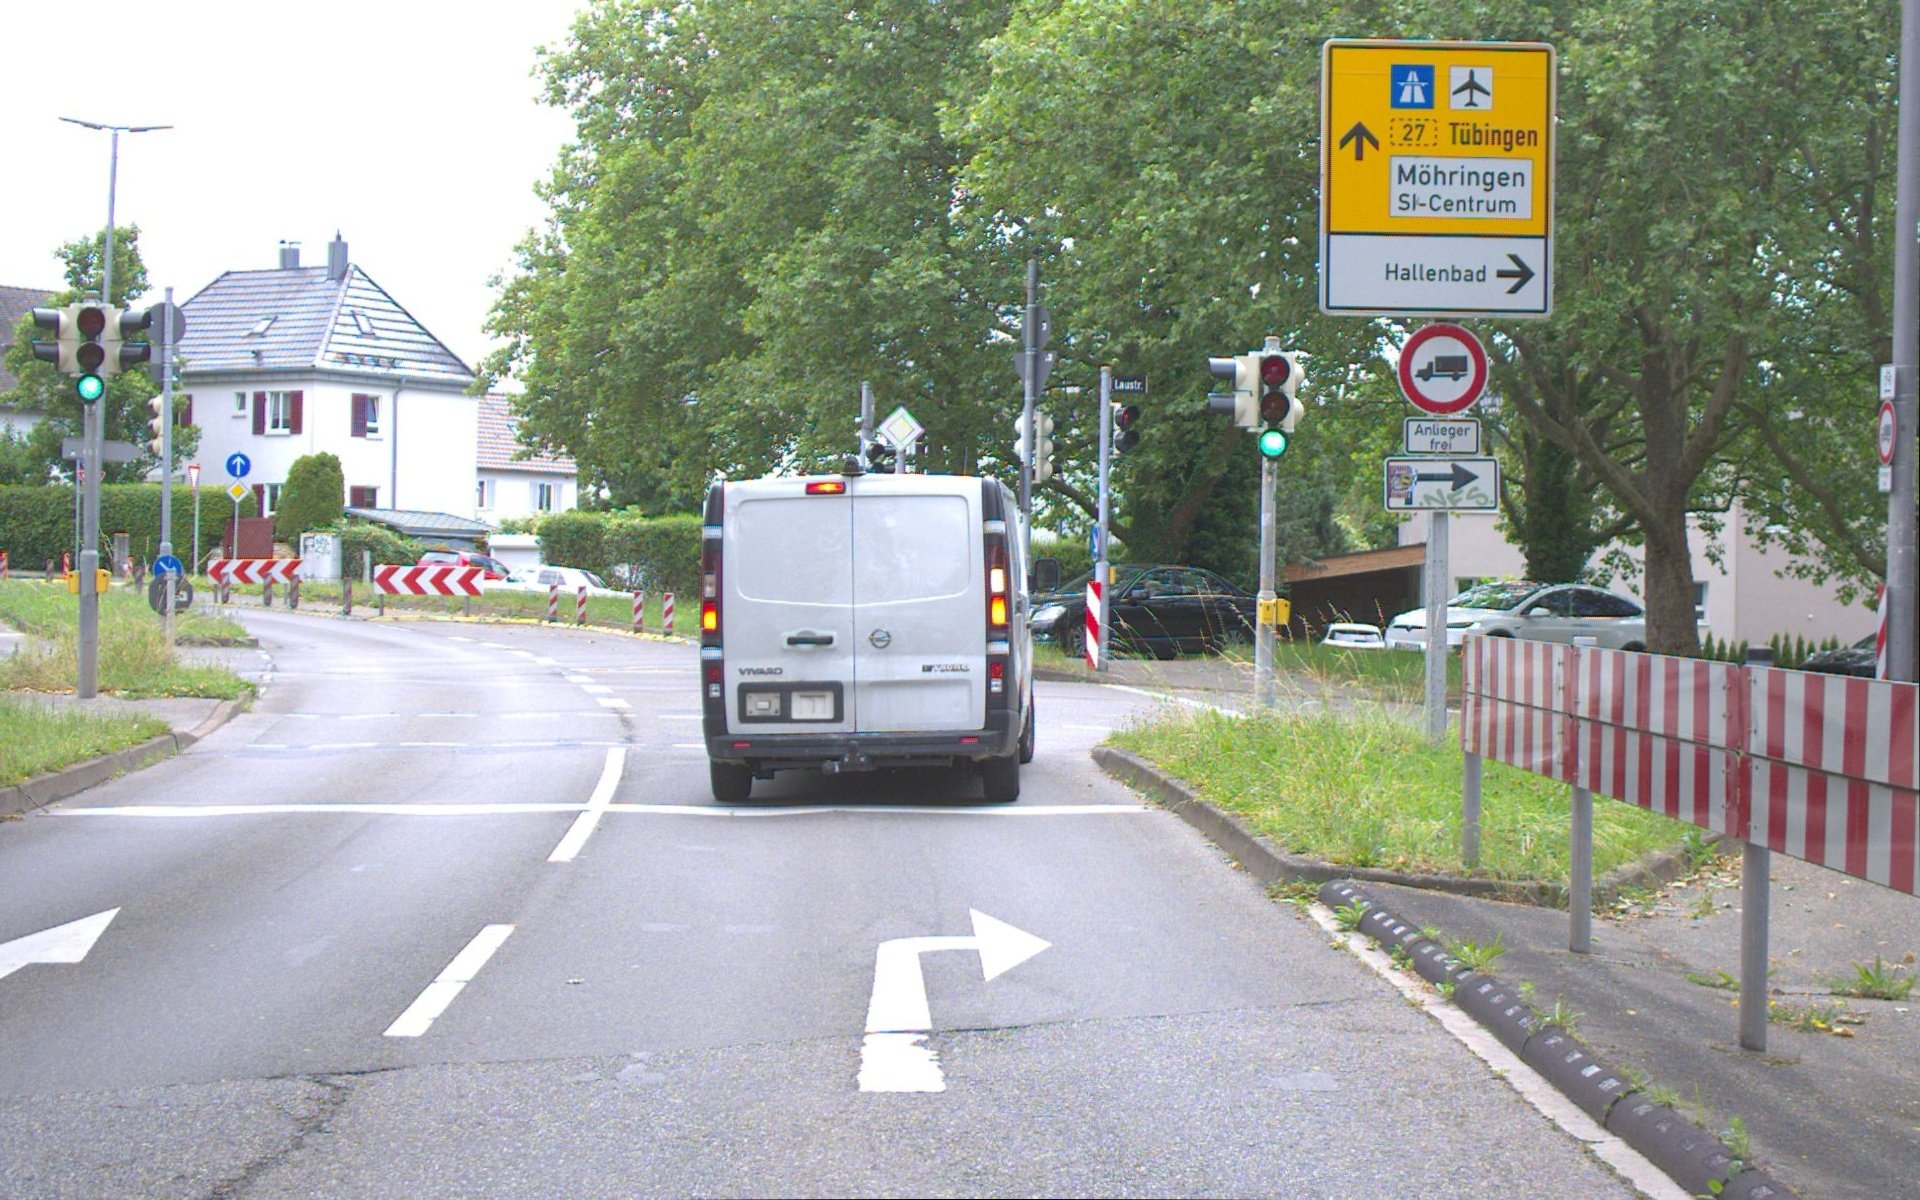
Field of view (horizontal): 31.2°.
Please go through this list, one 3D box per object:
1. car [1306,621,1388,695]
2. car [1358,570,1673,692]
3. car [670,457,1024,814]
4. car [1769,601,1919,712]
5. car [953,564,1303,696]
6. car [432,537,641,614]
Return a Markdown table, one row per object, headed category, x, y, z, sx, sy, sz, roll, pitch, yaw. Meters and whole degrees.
| category | x | y | z | sx | sy | sz | roll | pitch | yaw |
| --- | --- | --- | --- | --- | --- | --- | --- | --- | --- |
| car | 9.787 | 1.449 | 87.121 | 1.908 | 1.738 | 3.770 | 2 | 1 | 5 |
| car | 8.636 | 0.484 | 53.288 | 4.730 | 1.763 | 2.000 | 1 | 1 | -36 |
| car | -0.599 | 0.179 | 22.121 | 2.006 | 2.031 | 5.010 | 0 | 0 | 1 |
| car | 16.170 | 0.975 | 58.534 | 4.730 | 1.763 | 2.000 | 1 | 1 | -36 |
| car | 2.422 | 0.440 | 49.003 | 4.730 | 1.763 | 2.000 | 1 | 1 | -36 |
| car | -10.553 | -0.608 | 85.774 | 4.733 | 1.763 | 1.998 | 2 | 0 | 18 |
